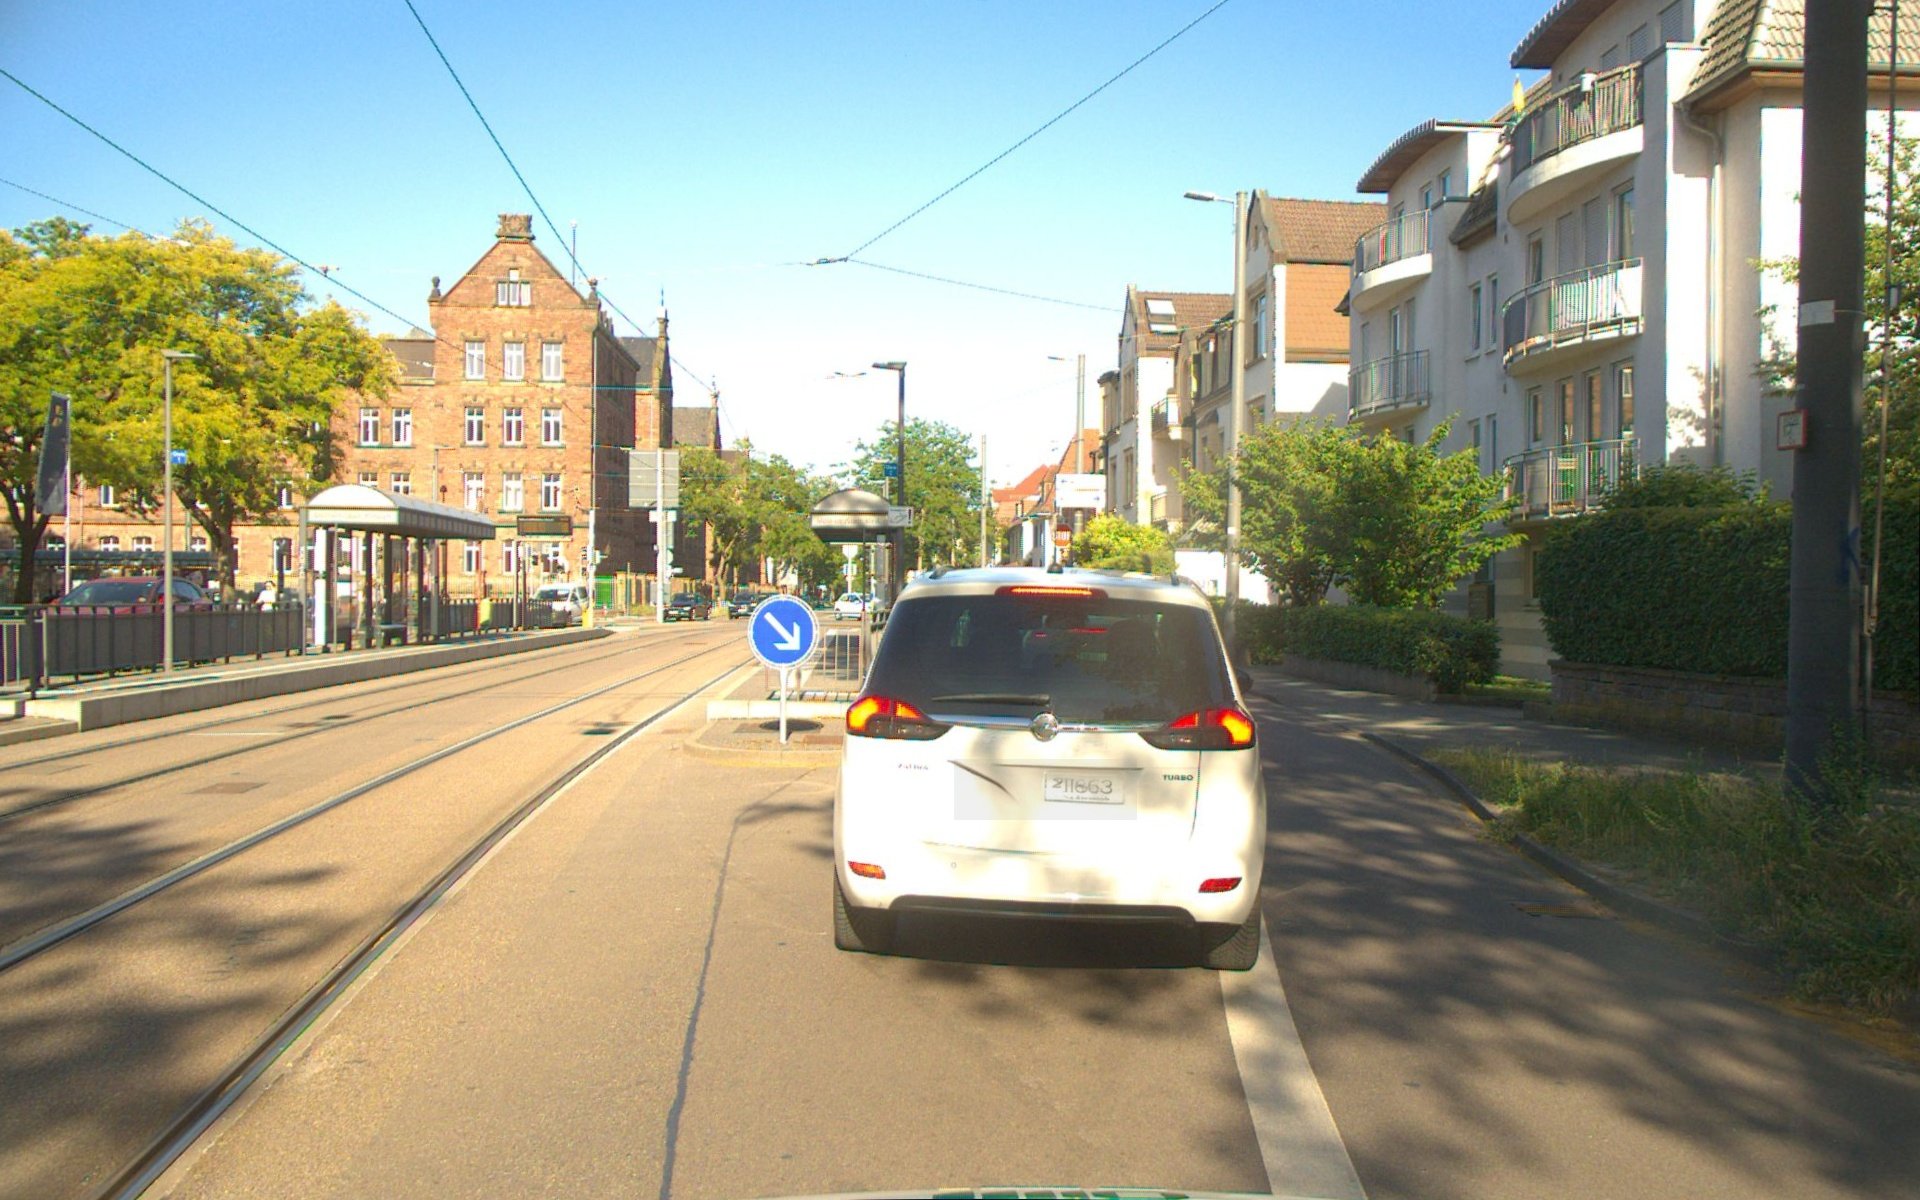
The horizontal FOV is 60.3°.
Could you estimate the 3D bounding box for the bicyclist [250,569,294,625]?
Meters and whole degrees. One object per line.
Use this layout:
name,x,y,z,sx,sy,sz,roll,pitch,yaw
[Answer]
bicyclist,-18.595,-0.077,44.707,0.741,1.496,1.189,1,0,-5

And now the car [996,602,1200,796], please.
car,1.229,0.769,14.787,1.536,1.426,3.786,2,0,5

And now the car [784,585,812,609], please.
car,-13.867,-0.274,141.563,1.952,2.049,4.000,0,0,0

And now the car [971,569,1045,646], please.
car,1.123,0.143,40.159,1.563,1.663,3.901,2,2,-1

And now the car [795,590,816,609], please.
car,-14.139,-0.044,151.536,1.629,1.680,3.998,0,0,-3

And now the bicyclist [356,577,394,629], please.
bicyclist,-17.871,0.095,50.530,0.745,1.563,1.347,0,0,-4

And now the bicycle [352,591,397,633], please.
bicycle,-17.873,0.350,50.529,0.762,1.252,2.087,0,0,-4

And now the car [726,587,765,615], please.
car,-13.019,0.094,100.564,1.789,1.645,4.327,1,-1,1

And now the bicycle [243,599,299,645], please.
bicycle,-18.602,0.578,44.698,0.799,1.219,1.951,1,0,-5

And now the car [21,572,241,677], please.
car,-13.987,0.379,28.196,1.782,1.635,4.356,0,0,-4

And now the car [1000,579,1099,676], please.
car,1.650,0.488,31.626,1.563,1.663,3.900,2,0,-1

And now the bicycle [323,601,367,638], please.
bicycle,-18.912,0.591,50.887,0.655,1.091,2.014,1,1,-3

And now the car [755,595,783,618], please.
car,-13.007,0.458,112.938,1.791,1.471,4.322,1,-1,-6

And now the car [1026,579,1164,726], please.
car,1.717,0.596,21.046,1.536,1.643,3.786,2,0,5

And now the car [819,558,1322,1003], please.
car,0.560,0.644,8.082,1.838,1.613,4.002,0,0,5

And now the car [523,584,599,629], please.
car,-16.395,0.254,68.164,1.788,1.819,4.257,0,0,4

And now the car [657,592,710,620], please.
car,-14.376,0.281,86.243,1.760,1.406,4.497,0,1,3

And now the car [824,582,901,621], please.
car,-5.214,0.085,88.546,3.930,2.049,1.987,0,0,43
